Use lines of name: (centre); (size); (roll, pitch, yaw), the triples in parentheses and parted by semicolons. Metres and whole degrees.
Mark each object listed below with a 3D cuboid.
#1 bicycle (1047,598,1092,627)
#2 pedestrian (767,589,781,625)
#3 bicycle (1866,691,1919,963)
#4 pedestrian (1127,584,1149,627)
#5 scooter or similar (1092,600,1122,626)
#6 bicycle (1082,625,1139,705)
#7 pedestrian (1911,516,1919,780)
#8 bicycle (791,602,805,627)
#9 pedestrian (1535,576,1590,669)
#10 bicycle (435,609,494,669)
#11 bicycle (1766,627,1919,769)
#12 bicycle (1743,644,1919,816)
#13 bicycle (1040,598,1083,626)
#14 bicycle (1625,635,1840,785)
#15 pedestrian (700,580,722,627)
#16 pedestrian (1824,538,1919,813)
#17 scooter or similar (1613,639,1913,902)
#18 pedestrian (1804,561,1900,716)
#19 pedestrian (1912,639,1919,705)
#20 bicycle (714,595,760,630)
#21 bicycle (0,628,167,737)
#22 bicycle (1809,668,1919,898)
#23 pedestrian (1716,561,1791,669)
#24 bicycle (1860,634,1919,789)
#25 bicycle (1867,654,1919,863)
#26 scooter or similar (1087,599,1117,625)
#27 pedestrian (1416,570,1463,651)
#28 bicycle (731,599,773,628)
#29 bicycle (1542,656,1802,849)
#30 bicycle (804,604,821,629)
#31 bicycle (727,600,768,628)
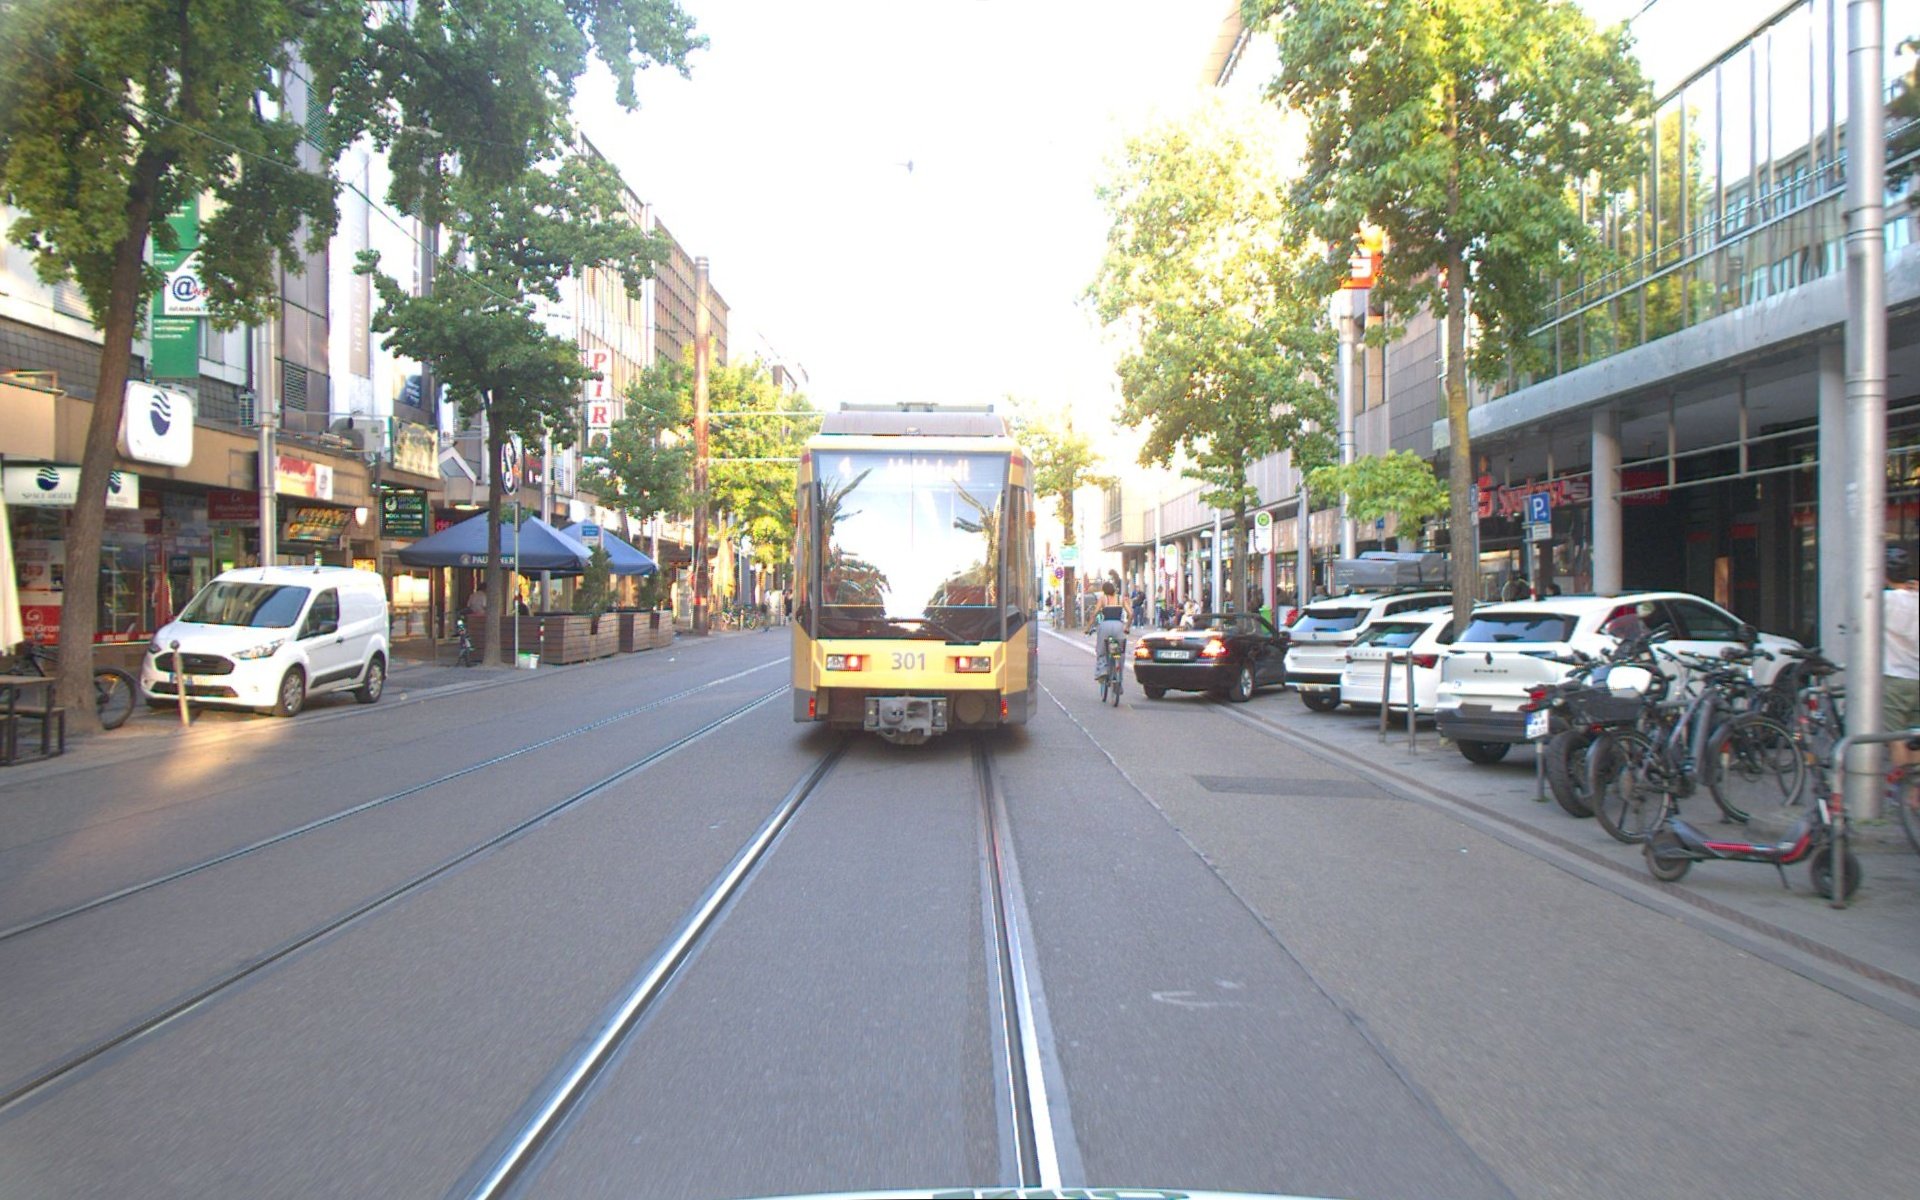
bicycle: (5.719, 0.674, 86.545); (2.282, 1.497, 0.790); (1, -1, -4)
pedestrian: (-9.002, 0.339, 79.970); (0.563, 1.716, 0.551); (2, -1, -10)
bicycle: (5.069, 0.968, 7.598); (1.967, 1.149, 0.673); (-3, 1, -31)
pedestrian: (7.716, 0.237, 71.761); (0.870, 1.813, 0.751); (1, -1, -2)
scooter or similar: (7.200, 0.624, 81.124); (1.356, 1.232, 0.514); (-1, -1, -14)
bicycle: (2.208, 0.940, 24.435); (0.642, 1.079, 2.057); (1, 0, 0)
pedestrian: (6.452, 0.440, 9.903); (0.932, 1.947, 0.860); (-3, 1, -12)
bicycle: (-7.736, 0.676, 78.900); (0.599, 1.146, 2.249); (3, -1, -5)
pedestrian: (11.002, 0.395, 30.203); (0.584, 1.644, 1.021); (-2, 1, -1)
bicycle: (-9.960, 0.754, 33.172); (0.801, 1.122, 2.148); (0, 1, -26)
bicycle: (8.172, 0.839, 14.695); (1.721, 1.137, 0.929); (-2, 0, -24)
bicycle: (6.527, 0.922, 12.172); (1.575, 1.051, 0.548); (-5, 2, -30)
bicycle: (5.573, 0.654, 90.636); (2.282, 1.497, 0.790); (1, -1, -4)
bicycle: (6.598, 0.895, 14.107); (1.729, 1.137, 0.907); (-2, 0, -35)
pedestrian: (-10.993, 0.173, 72.983); (0.831, 2.049, 0.921); (1, -1, 0)
pedestrian: (6.602, 0.502, 11.666); (0.811, 1.844, 0.592); (-4, 2, -39)
scooter or similar: (4.544, 0.909, 9.421); (0.690, 1.327, 1.374); (-1, 1, -38)
pedestrian: (10.198, 0.440, 18.925); (0.666, 1.729, 0.805); (1, -1, -1)
pedestrian: (11.863, 0.863, 19.757); (0.594, 0.796, 0.664); (0, -1, 2)
bicycle: (-9.263, 0.513, 68.656); (1.766, 1.384, 0.658); (3, -1, -13)
bicycle: (-9.713, 0.870, 17.965); (0.599, 1.087, 2.016); (0, 0, 29)
bicycle: (5.583, 0.954, 9.270); (1.810, 1.095, 0.617); (-3, 2, -32)
pedestrian: (11.633, 0.222, 24.263); (0.646, 1.554, 0.973); (0, -1, 2)
bicycle: (8.014, 0.837, 13.002); (1.767, 1.136, 0.836); (-2, 0, -30)
bicycle: (6.448, 0.889, 9.837); (1.964, 1.168, 0.694); (-3, 1, -19)
scooter or similar: (7.034, 0.604, 82.014); (1.354, 1.272, 0.555); (-1, -1, -8)
pedestrian: (11.323, 0.231, 39.108); (0.815, 1.868, 0.944); (-1, 1, 0)
bicycle: (-8.842, 0.596, 70.420); (1.700, 1.146, 0.612); (3, -1, -7)
bicycle: (4.876, 0.995, 11.309); (1.727, 1.136, 0.798); (-2, 1, -32)
bicycle: (-6.154, 0.683, 69.177); (0.628, 1.041, 1.588); (1, 0, -3)
bicycle: (-9.346, 0.617, 72.849); (1.699, 1.146, 0.563); (3, -1, -4)
